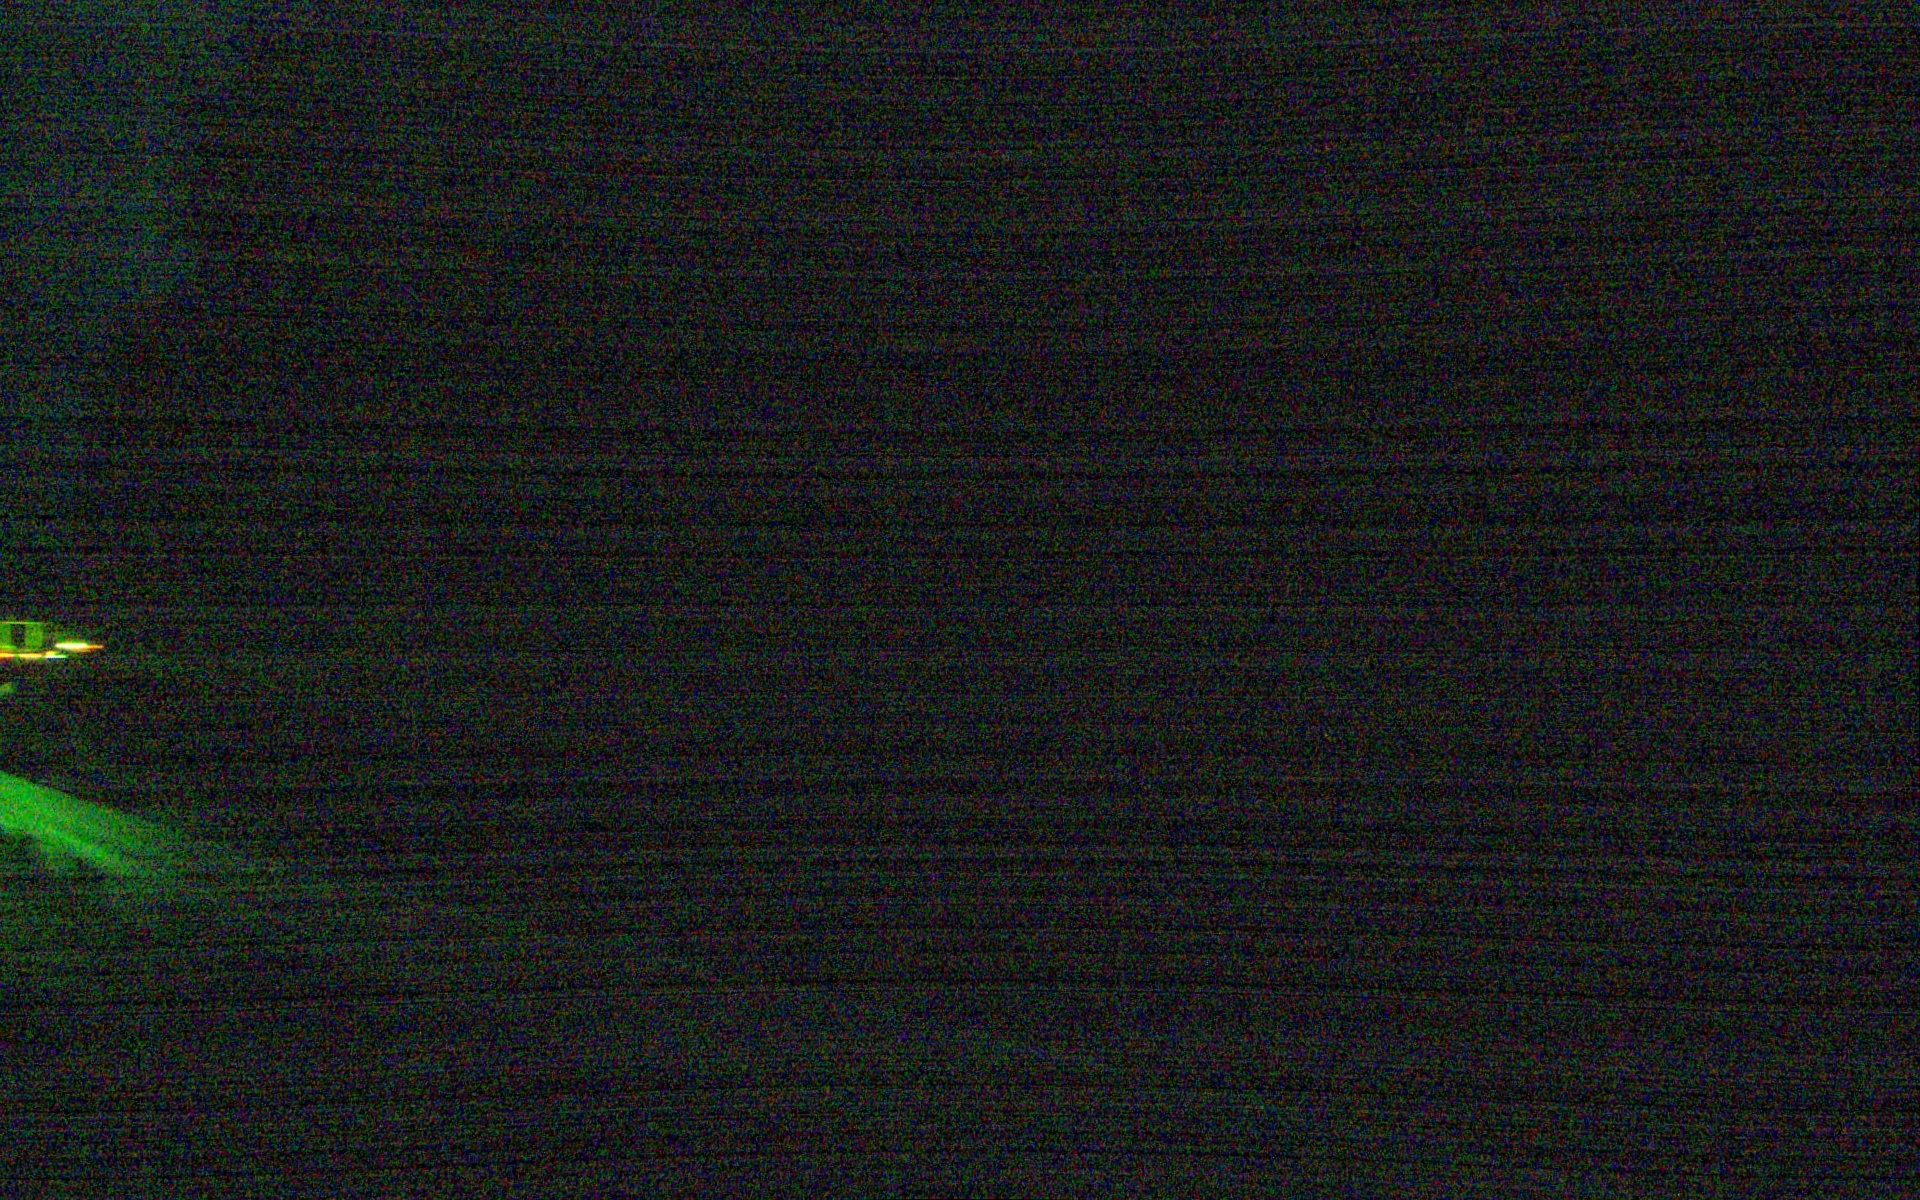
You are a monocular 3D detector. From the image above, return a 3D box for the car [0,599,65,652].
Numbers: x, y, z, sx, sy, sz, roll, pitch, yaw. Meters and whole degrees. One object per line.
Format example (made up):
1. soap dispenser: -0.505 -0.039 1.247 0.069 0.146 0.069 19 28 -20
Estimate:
1. car: -96.113 2.776 103.479 5.247 5.155 12.362 3 -4 -42
